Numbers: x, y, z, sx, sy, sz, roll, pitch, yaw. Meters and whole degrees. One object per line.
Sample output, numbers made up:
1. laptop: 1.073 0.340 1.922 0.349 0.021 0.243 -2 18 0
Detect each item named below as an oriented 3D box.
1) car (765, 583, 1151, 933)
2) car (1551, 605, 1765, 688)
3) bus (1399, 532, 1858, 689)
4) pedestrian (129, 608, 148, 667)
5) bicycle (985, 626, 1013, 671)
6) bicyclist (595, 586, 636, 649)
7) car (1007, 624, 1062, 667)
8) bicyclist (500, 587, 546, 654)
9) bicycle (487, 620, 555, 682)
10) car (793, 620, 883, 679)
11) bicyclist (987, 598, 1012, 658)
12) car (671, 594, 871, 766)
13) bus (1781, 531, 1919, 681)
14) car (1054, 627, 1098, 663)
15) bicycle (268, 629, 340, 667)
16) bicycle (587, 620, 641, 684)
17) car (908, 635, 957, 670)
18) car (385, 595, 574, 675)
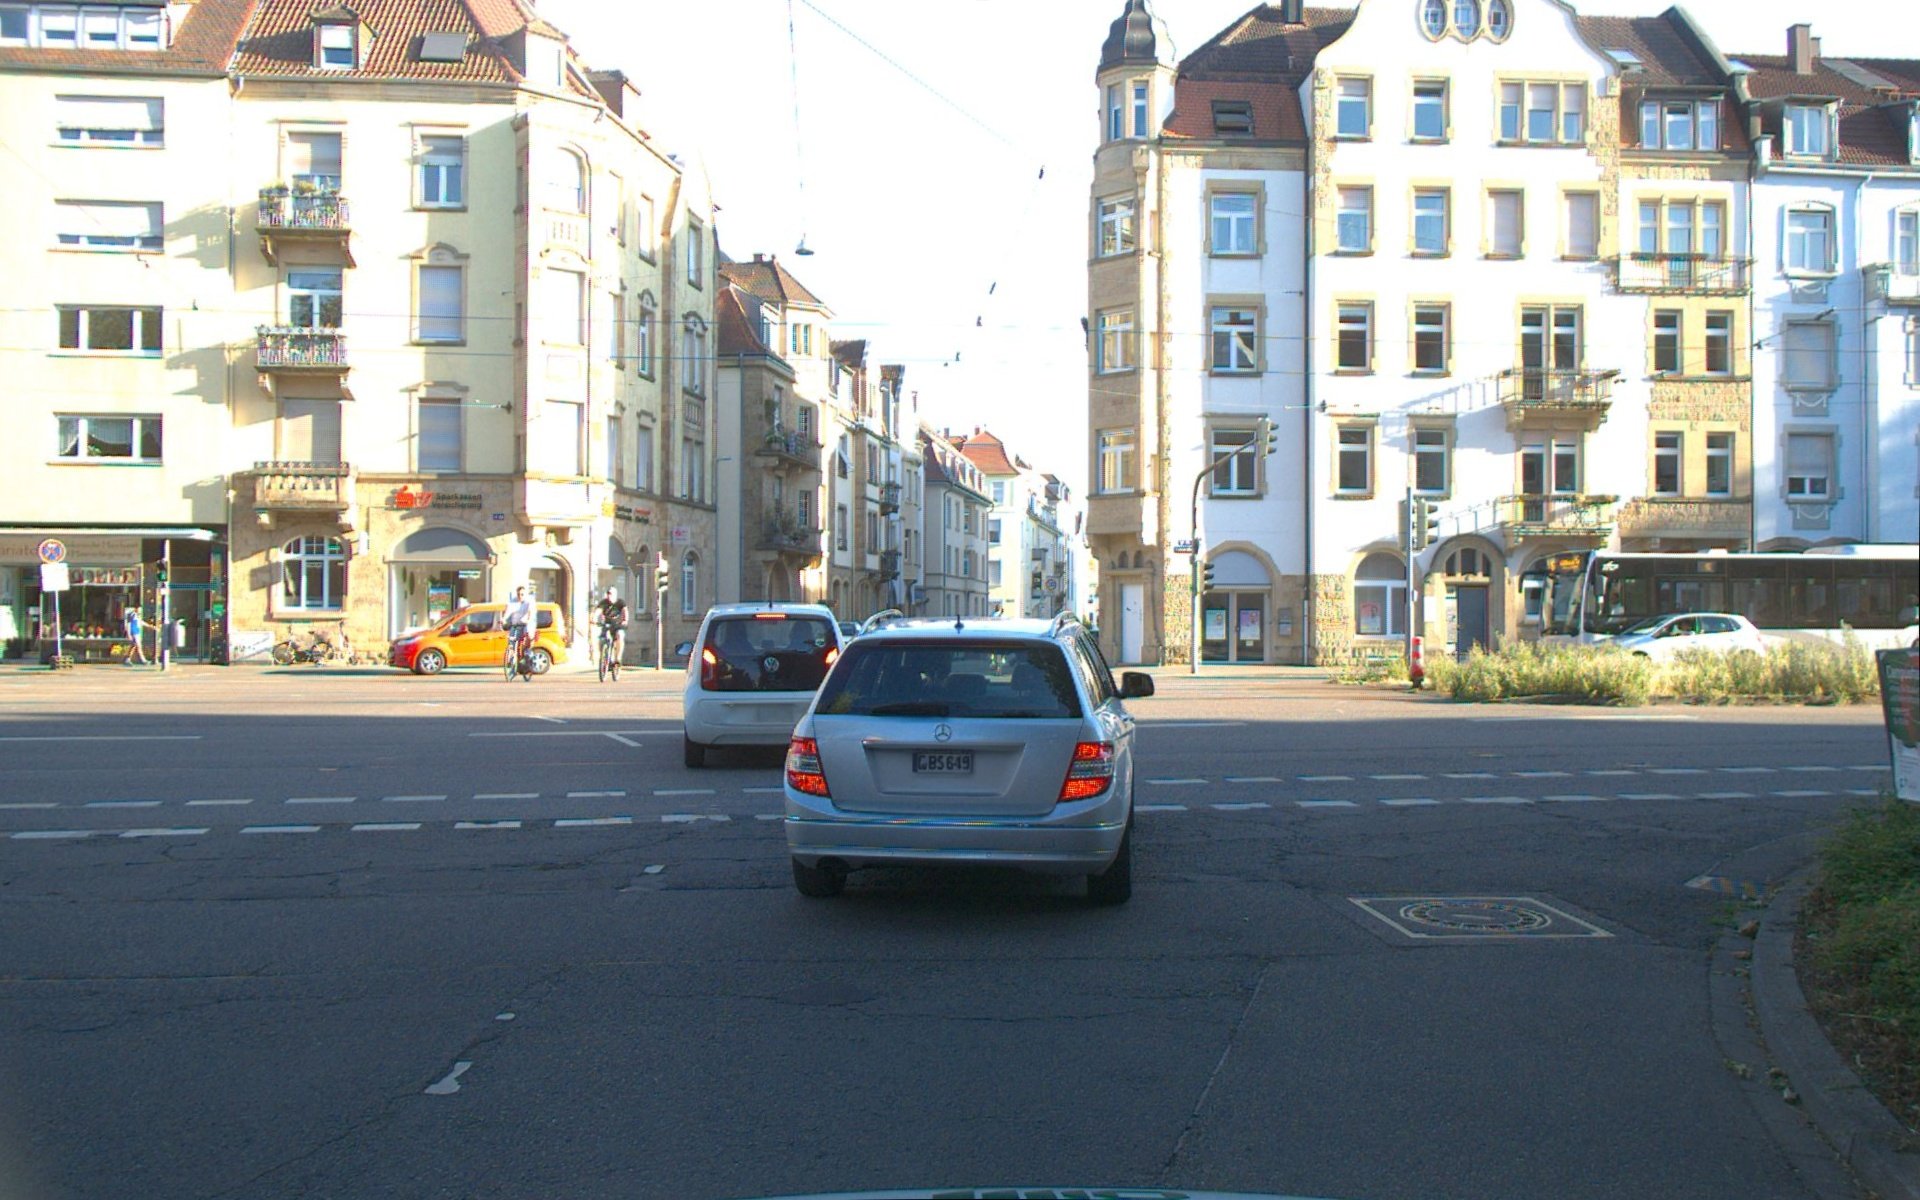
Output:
1. car: 0.205 0.721 9.398 1.695 1.503 4.175 1 -1 6
2. car: 15.268 1.007 36.315 3.906 1.713 1.935 1 -1 -2
3. bus: 15.715 0.274 39.298 9.672 3.433 3.273 1 -1 -4
4. pedestrian: -22.523 1.027 45.342 0.311 1.607 0.348 0 -1 4
5. bicycle: 1.011 1.253 43.200 0.607 1.124 2.552 1 -1 -1
6. bicyclist: -6.610 0.334 31.749 0.597 1.178 0.767 1 -1 -1
7. car: 3.031 1.795 66.542 1.791 1.644 4.003 1 -1 8
8. bicyclist: -8.346 0.387 31.611 0.645 1.257 0.767 1 -1 -1
9. bicycle: -8.345 0.947 31.549 0.637 1.124 2.552 1 -1 -1
10. car: -3.760 1.524 51.733 1.791 1.736 4.003 1 -1 11
11. bicyclist: 1.023 0.729 43.120 0.597 1.520 0.767 1 -1 -1
12. car: -1.774 0.737 16.560 1.697 1.506 3.812 1 -1 -2
13. bus: 26.446 0.239 40.146 11.703 3.433 3.262 1 -1 -4
14. car: 5.809 2.235 82.491 1.791 1.736 4.003 1 -1 10
15. bicycle: -18.227 1.330 45.959 1.772 1.046 0.492 0 -1 -6
16. bicycle: -6.614 0.977 31.712 0.637 1.124 1.924 1 1 -1
17. car: -1.336 2.615 82.800 1.791 1.644 4.003 1 -1 8
18. car: -12.175 0.903 41.954 4.254 1.933 1.900 1 -1 -32
